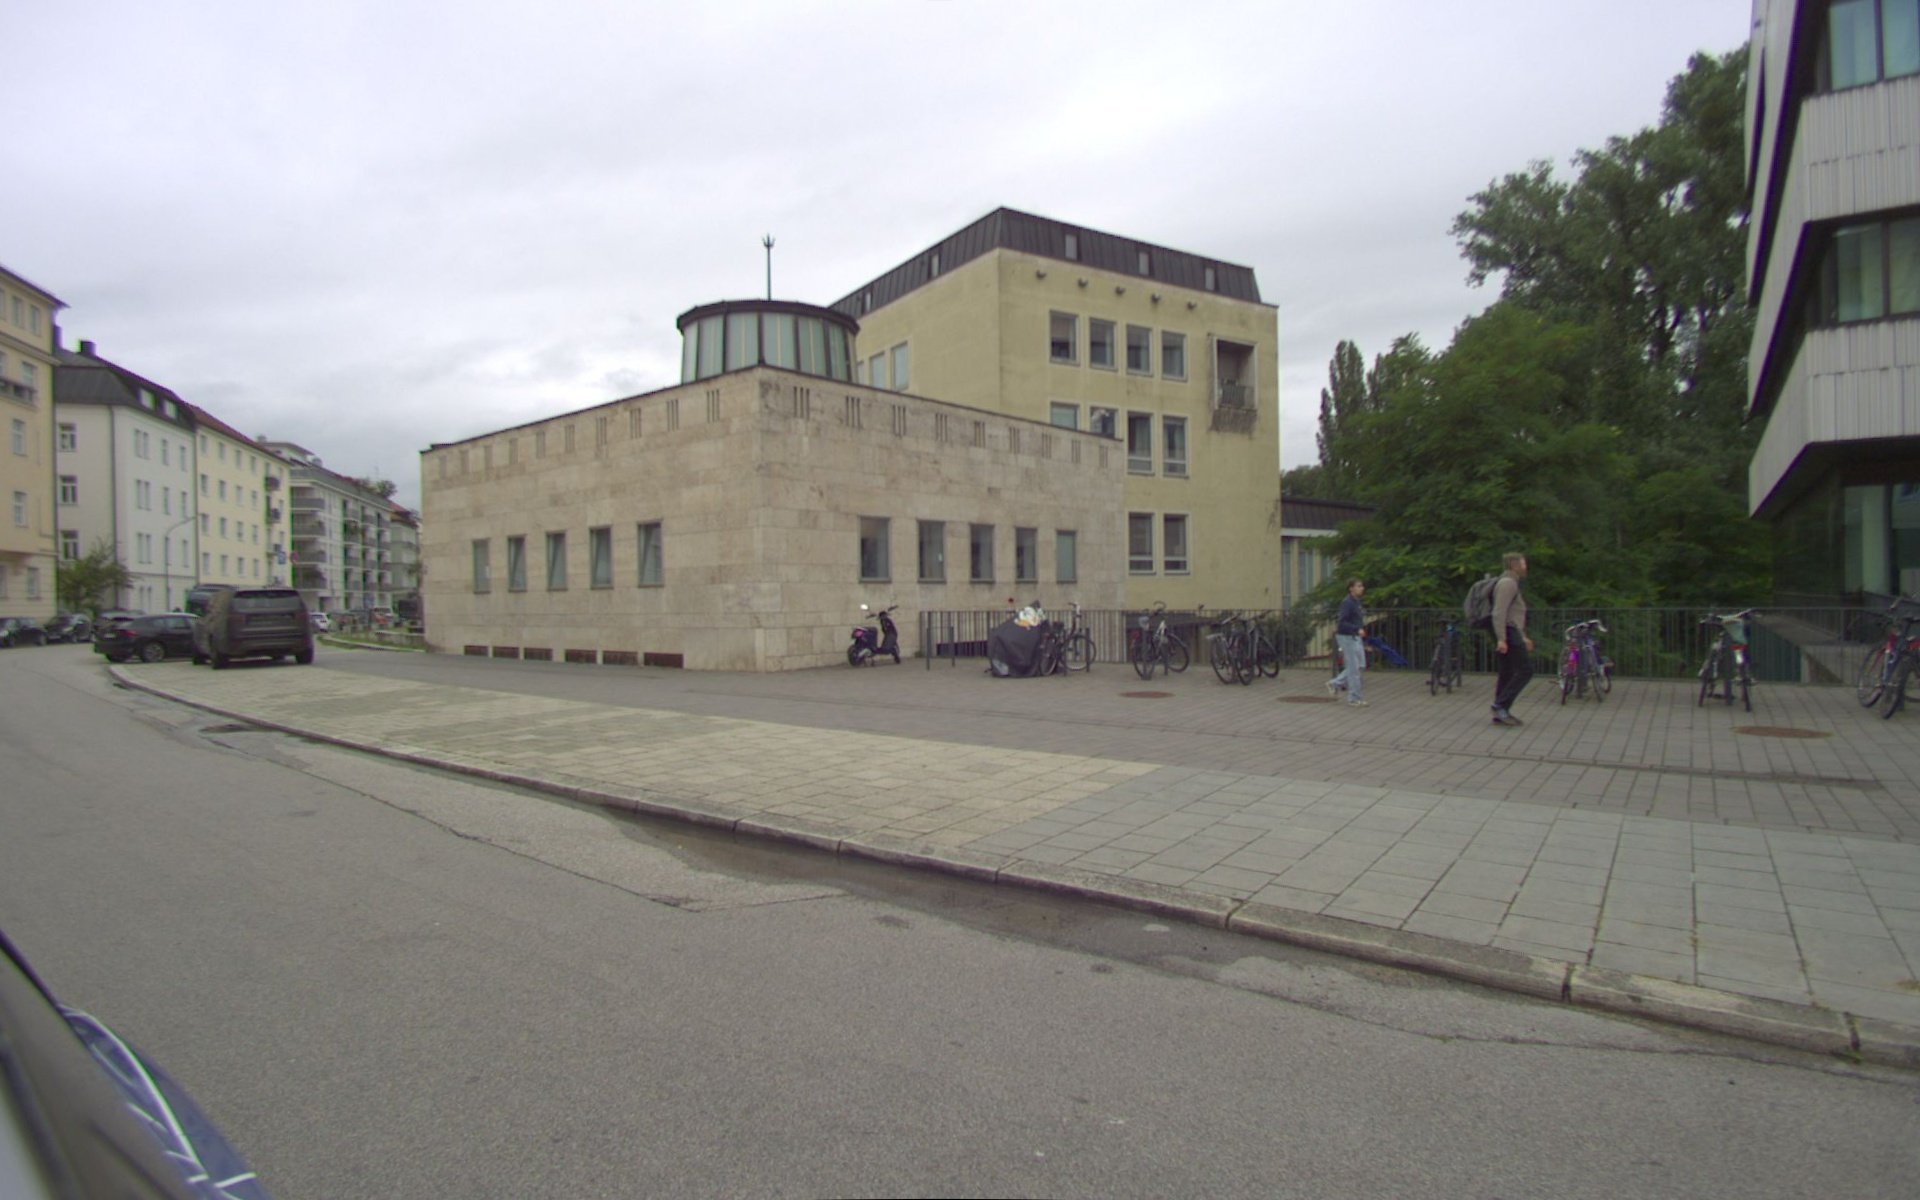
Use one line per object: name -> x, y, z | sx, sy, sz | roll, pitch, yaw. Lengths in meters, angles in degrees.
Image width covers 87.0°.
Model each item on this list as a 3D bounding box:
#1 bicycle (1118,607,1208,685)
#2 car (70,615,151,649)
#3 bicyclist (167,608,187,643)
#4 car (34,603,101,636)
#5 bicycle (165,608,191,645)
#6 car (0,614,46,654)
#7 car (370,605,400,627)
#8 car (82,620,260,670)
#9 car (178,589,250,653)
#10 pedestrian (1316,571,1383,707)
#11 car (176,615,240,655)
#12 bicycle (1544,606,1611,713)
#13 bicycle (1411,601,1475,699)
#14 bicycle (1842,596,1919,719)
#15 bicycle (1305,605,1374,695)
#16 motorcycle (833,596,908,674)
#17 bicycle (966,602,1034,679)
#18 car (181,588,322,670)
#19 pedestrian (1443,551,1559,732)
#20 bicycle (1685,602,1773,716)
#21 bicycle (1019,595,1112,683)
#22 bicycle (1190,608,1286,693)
bicycle -> 3.401, 0.731, 16.793 | 0.616, 1.119, 2.027 | -2, 1, 37
car -> -47.863, 1.783, 57.145 | 1.901, 1.743, 4.702 | -3, -1, -20
bicyclist -> -38.864, 1.262, 50.208 | 0.738, 1.730, 1.033 | 0, -2, -41
car -> -46.011, 1.002, 52.222 | 1.487, 1.568, 2.871 | -3, 1, -18
bicycle -> -38.344, 1.334, 49.601 | 0.785, 1.735, 3.119 | 2, -3, -41
car -> -43.813, 1.567, 46.137 | 1.811, 1.743, 3.742 | -3, 1, -20
car -> -54.810, 1.502, 96.499 | 1.916, 1.991, 4.370 | 0, 0, -22
car -> -23.945, 1.342, 30.894 | 1.735, 1.384, 3.983 | 1, -1, 18
car -> -32.579, 0.907, 44.331 | 2.114, 2.594, 6.228 | 0, -1, -33
pedestrian -> 4.785, 0.466, 12.464 | 0.600, 1.613, 0.642 | -3, 1, 11
car -> -28.847, 1.325, 38.808 | 1.803, 1.398, 4.150 | 3, -3, -37
bicycle -> 7.624, 0.685, 12.468 | 0.615, 1.119, 2.030 | -2, 1, 33
bicycle -> 6.414, 0.626, 13.391 | 0.614, 1.119, 2.032 | -2, 1, 29
bicycle -> 10.031, 0.569, 10.790 | 0.615, 1.119, 2.030 | -2, 1, 33
bicycle -> 5.499, 0.687, 14.589 | 0.614, 1.119, 2.032 | -2, 1, 29
motorcycle -> -1.767, 0.674, 20.116 | 0.514, 1.416, 1.549 | -2, 1, 37
bicycle -> 0.740, 0.707, 18.212 | 0.462, 1.269, 1.437 | -2, 1, 35
car -> -17.351, 0.695, 24.698 | 4.817, 1.785, 1.971 | -2, -1, 45
pedestrian -> 5.633, 0.407, 10.600 | 1.009, 1.795, 0.782 | -1, 2, 25
bicycle -> 8.871, 0.639, 11.729 | 0.615, 1.119, 2.030 | -2, 1, 33
bicycle -> 1.853, 0.637, 17.451 | 0.612, 1.362, 2.080 | -2, 1, 35
bicycle -> 4.295, 0.734, 15.527 | 0.616, 1.119, 2.025 | -2, 1, 39
